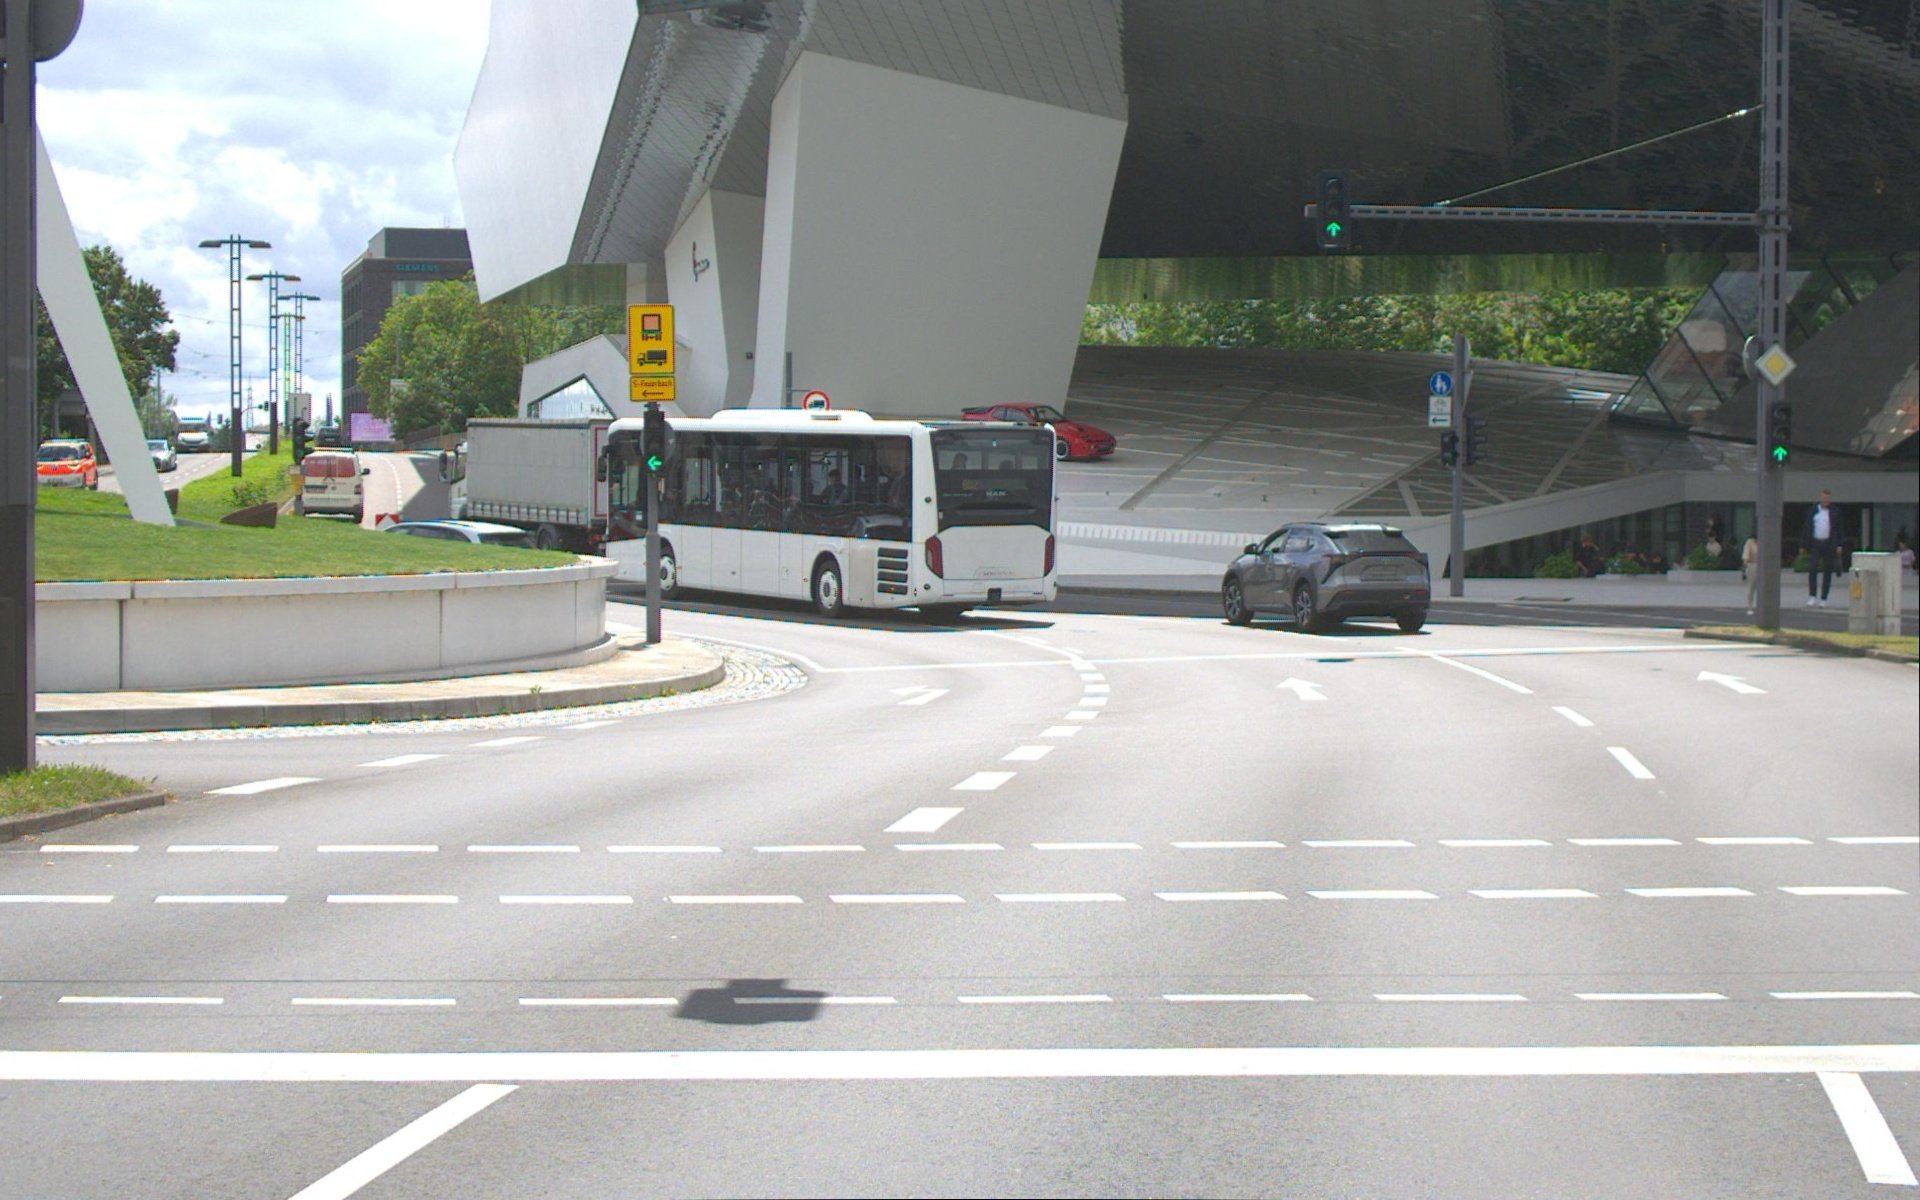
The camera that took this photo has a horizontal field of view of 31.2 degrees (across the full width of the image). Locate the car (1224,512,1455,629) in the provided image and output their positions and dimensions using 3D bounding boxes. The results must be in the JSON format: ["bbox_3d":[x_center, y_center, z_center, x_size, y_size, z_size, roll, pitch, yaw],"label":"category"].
[{"bbox_3d":[5.641,-0.423,51.653,1.993,1.631,4.001,-2,0,-17],"label":"car"}]

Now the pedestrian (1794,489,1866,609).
[{"bbox_3d":[14.820,-0.879,58.572,0.954,1.978,1.381,2,3,7],"label":"pedestrian"}]

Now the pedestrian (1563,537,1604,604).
[{"bbox_3d":[15.007,-0.706,82.730,0.828,1.567,0.922,2,0,18],"label":"pedestrian"}]

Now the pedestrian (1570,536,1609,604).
[{"bbox_3d":[14.956,-0.707,81.696,0.828,1.567,0.923,2,0,13],"label":"pedestrian"}]

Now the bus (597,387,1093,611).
[{"bbox_3d":[-2.293,-1.656,58.559,3.071,3.350,12.224,2,0,-29],"label":"bus"}]

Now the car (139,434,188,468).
[{"bbox_3d":[-36.400,-6.837,157.135,1.754,1.393,4.676,2,4,-8],"label":"car"}]

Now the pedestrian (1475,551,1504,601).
[{"bbox_3d":[13.538,-0.618,87.876,0.561,1.248,0.473,2,0,31],"label":"pedestrian"}]

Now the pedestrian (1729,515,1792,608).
[{"bbox_3d":[12.982,-0.629,55.761,0.581,1.491,0.771,1,0,-42],"label":"pedestrian"}]

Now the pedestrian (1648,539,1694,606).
[{"bbox_3d":[16.942,-0.646,81.932,0.795,1.567,0.692,2,0,42],"label":"pedestrian"}]

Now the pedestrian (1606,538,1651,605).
[{"bbox_3d":[16.042,-0.675,82.484,0.921,1.567,0.830,2,0,19],"label":"pedestrian"}]

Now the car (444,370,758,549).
[{"bbox_3d":[-7.855,-2.908,73.749,3.335,3.492,9.343,2,0,-28],"label":"car"}]

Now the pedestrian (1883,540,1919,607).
[{"bbox_3d":[22.566,-0.620,81.700,0.827,1.567,0.924,2,0,-18],"label":"pedestrian"}]

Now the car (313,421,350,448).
[{"bbox_3d":[-38.691,-10.187,211.706,1.993,1.630,4.657,2,2,-8],"label":"car"}]

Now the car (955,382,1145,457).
[{"bbox_3d":[2.293,-4.656,88.294,4.508,1.390,1.996,10,10,37],"label":"car"}]

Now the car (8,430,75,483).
[{"bbox_3d":[-34.452,-5.391,128.910,1.993,1.976,4.839,-1,3,-20],"label":"car"}]

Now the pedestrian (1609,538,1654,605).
[{"bbox_3d":[15.885,-0.673,81.308,0.921,1.567,0.830,2,0,17],"label":"pedestrian"}]

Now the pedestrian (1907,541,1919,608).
[{"bbox_3d":[22.913,-0.587,80.804,0.827,1.567,0.924,2,0,-18],"label":"pedestrian"}]

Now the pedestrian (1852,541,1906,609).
[{"bbox_3d":[21.634,-0.592,80.954,0.827,1.567,0.924,2,0,-18],"label":"pedestrian"}]

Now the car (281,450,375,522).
[{"bbox_3d":[-17.867,-3.188,97.141,1.993,1.897,4.001,2,0,-19],"label":"car"}]
